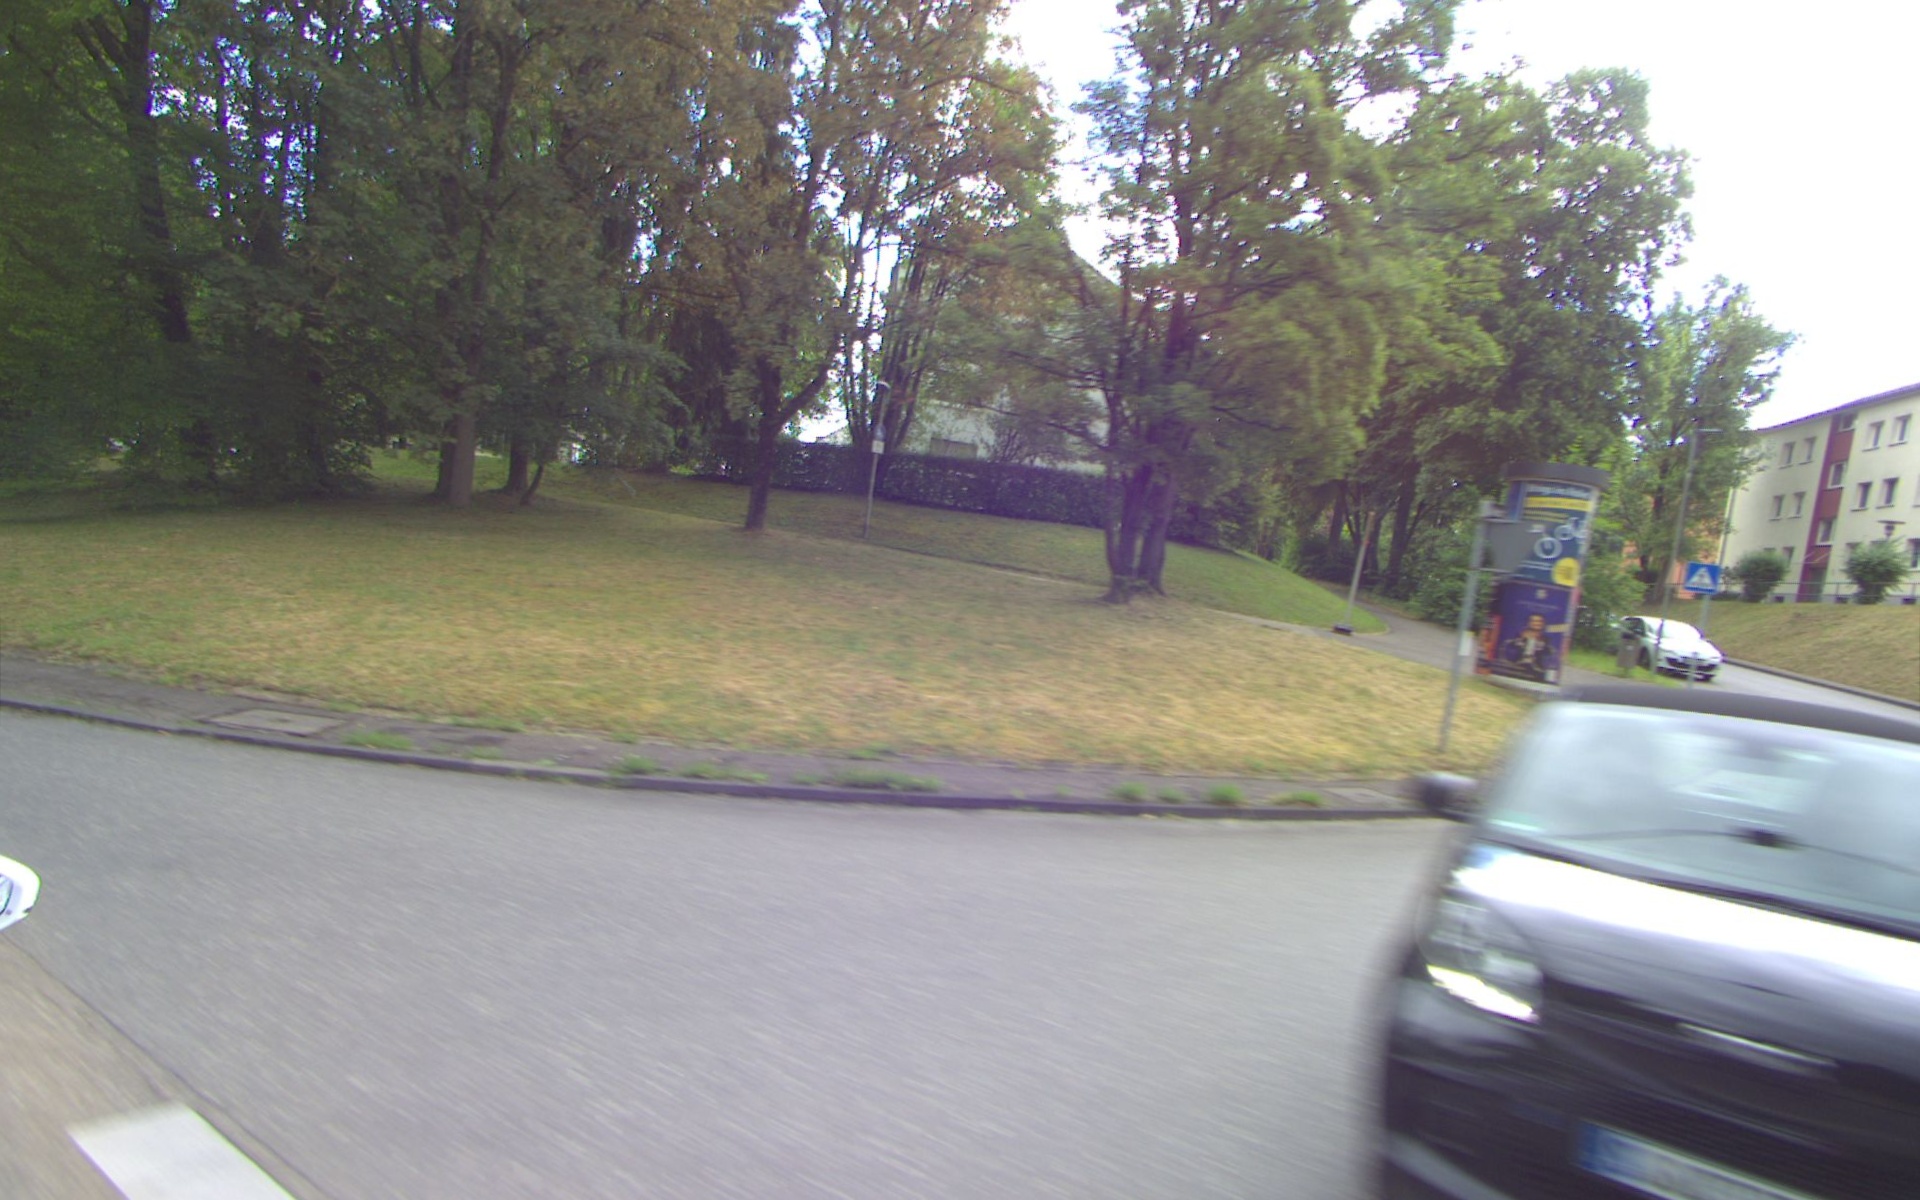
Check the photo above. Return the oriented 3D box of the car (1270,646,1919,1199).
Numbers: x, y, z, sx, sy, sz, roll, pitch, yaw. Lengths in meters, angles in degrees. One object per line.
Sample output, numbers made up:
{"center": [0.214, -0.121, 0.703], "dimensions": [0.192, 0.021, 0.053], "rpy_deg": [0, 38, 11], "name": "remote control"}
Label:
{"center": [2.458, 1.062, 3.444], "dimensions": [1.641, 1.513, 3.304], "rpy_deg": [7, 1, 34], "name": "car"}
